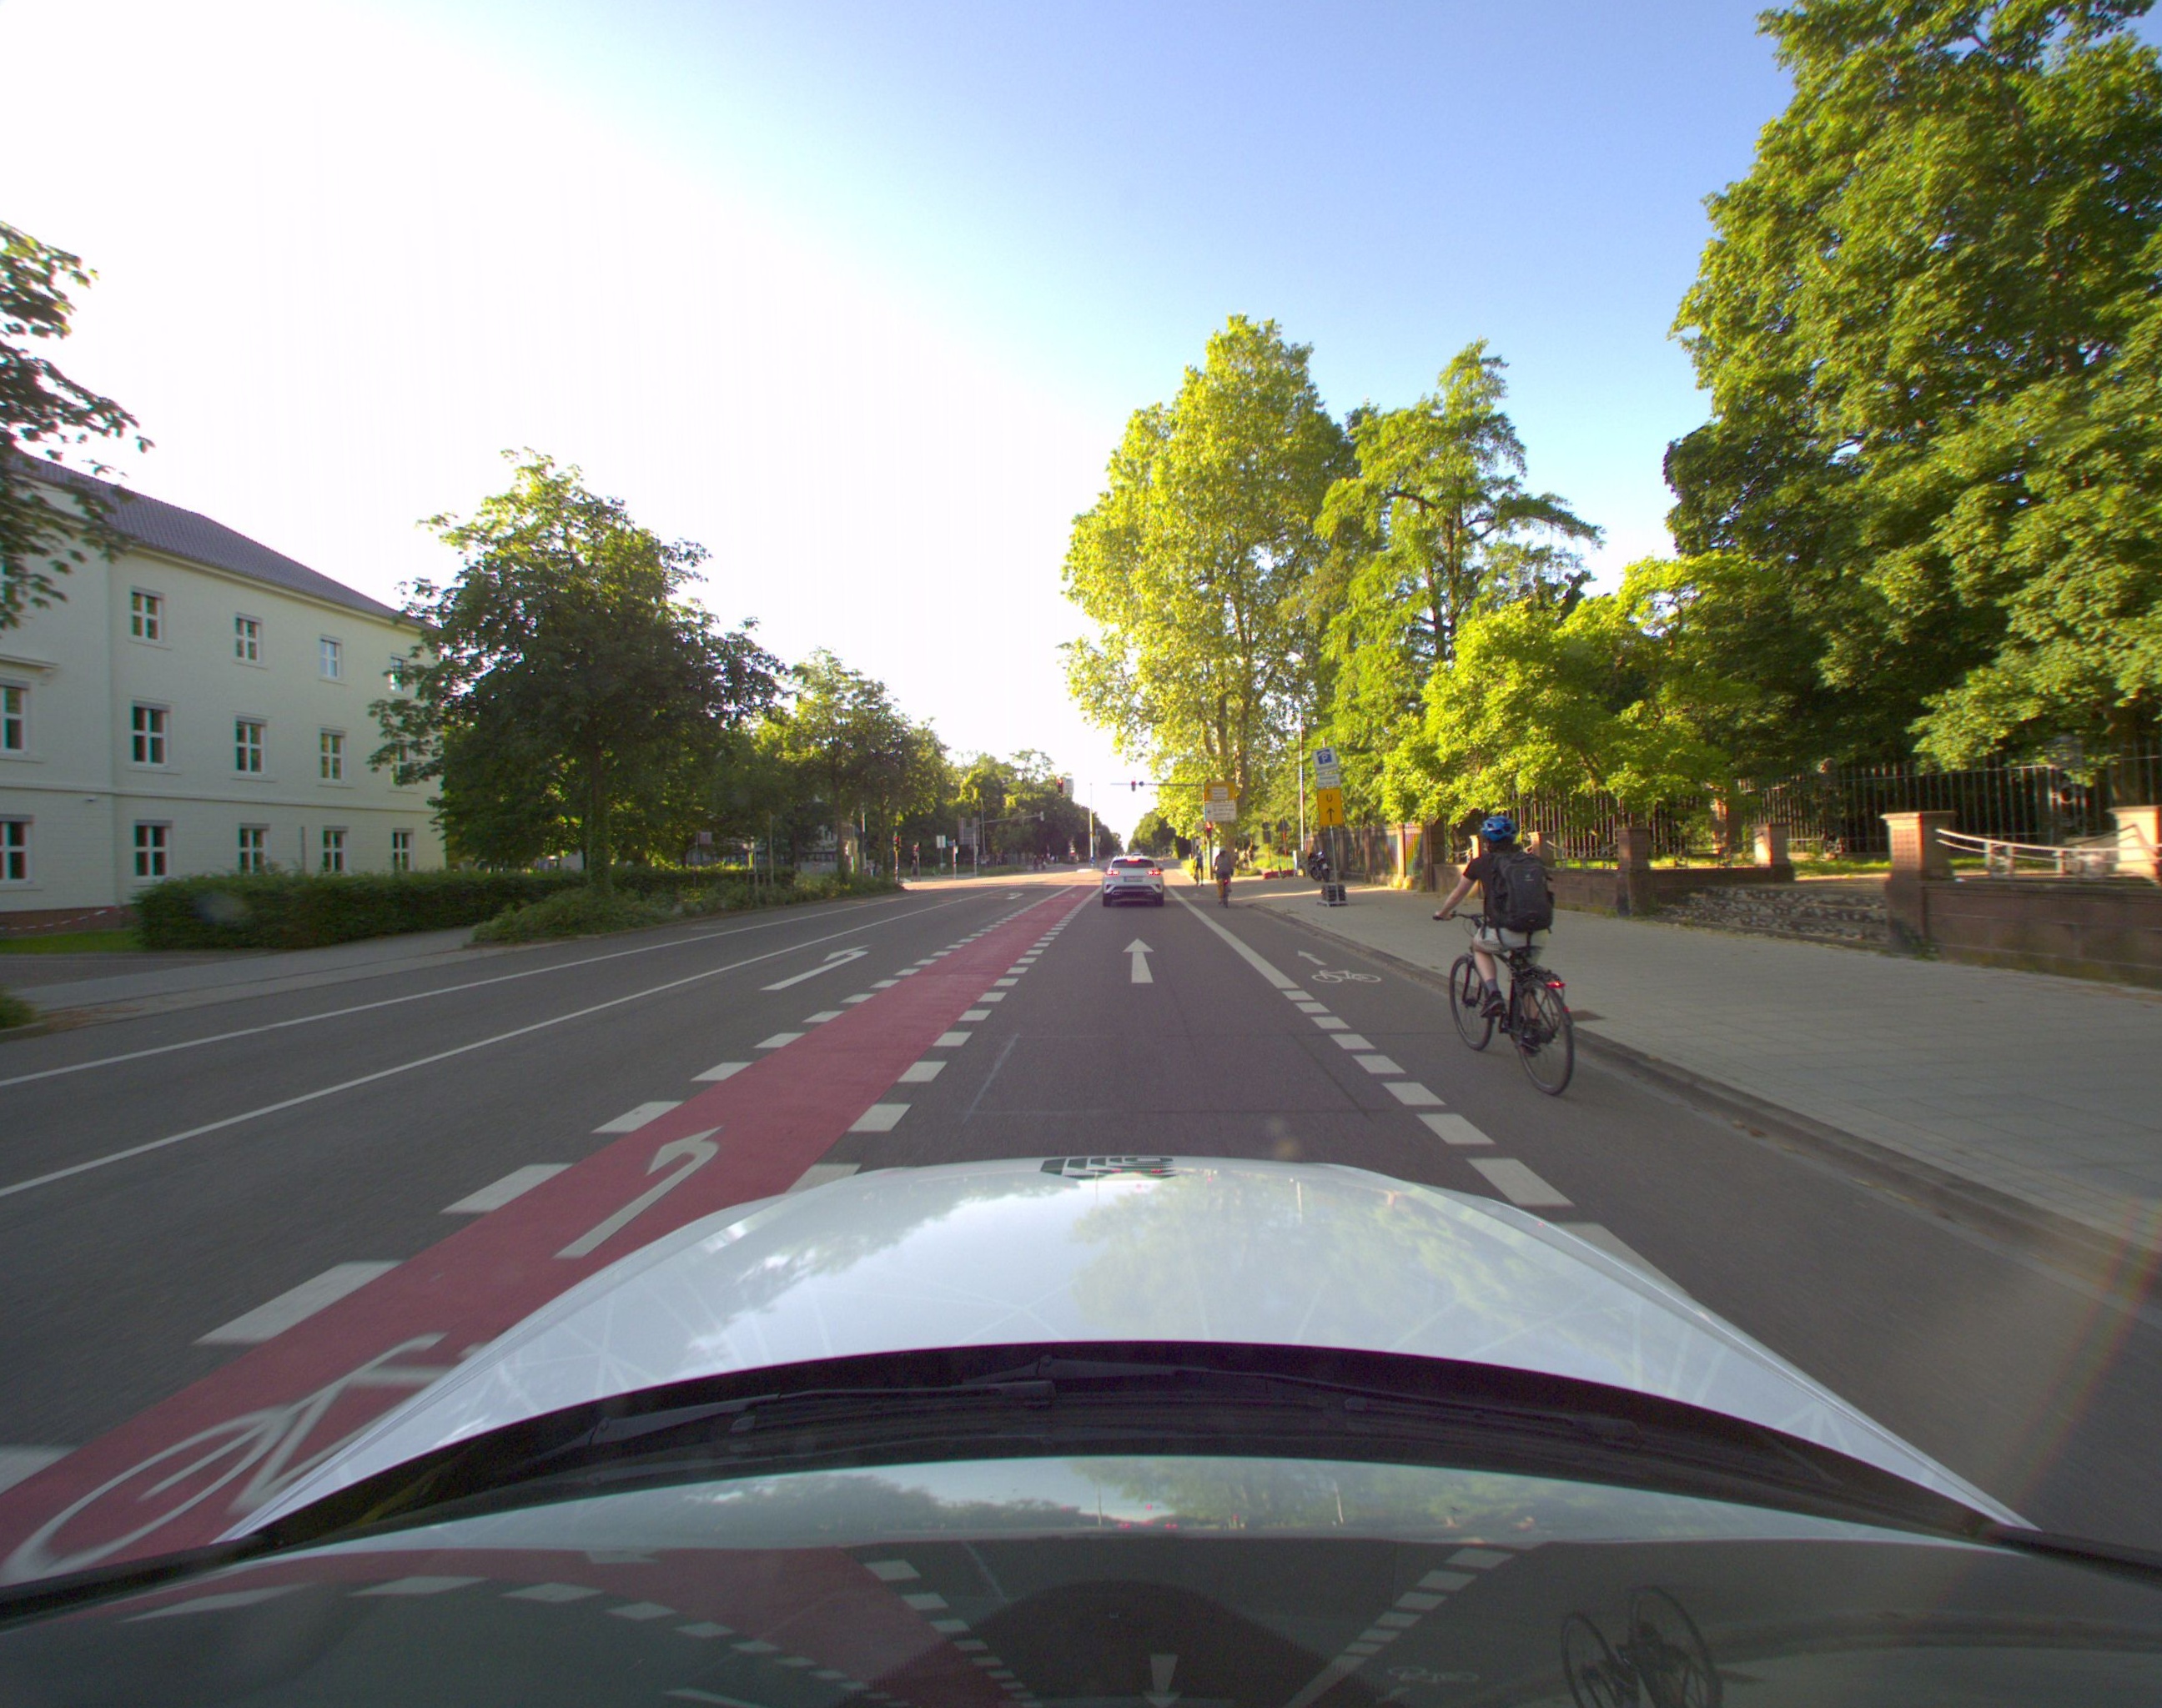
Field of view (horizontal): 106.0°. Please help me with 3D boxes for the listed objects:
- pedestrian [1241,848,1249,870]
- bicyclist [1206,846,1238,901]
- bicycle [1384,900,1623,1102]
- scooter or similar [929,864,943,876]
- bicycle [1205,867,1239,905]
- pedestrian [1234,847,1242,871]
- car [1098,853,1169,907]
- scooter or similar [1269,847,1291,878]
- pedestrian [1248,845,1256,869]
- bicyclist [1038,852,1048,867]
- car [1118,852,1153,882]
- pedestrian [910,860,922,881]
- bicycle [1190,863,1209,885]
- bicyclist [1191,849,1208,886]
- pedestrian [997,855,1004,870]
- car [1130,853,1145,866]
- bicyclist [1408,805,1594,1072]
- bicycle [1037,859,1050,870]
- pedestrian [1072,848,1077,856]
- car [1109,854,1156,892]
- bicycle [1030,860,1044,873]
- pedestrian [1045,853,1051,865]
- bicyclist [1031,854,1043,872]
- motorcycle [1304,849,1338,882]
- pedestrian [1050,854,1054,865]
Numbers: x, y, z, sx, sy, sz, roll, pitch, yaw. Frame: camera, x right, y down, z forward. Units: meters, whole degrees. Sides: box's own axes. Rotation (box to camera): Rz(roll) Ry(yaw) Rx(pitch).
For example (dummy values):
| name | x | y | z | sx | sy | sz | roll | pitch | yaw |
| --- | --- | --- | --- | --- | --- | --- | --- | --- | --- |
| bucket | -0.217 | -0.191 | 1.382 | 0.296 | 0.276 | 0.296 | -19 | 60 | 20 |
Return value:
| name | x | y | z | sx | sy | sz | roll | pitch | yaw |
| --- | --- | --- | --- | --- | --- | --- | --- | --- | --- |
| pedestrian | 12.820 | 0.403 | 63.667 | 0.479 | 1.640 | 0.433 | -5 | 3 | 9 |
| bicyclist | 4.060 | 0.562 | 23.494 | 0.744 | 1.537 | 0.970 | -2 | 0 | 3 |
| bicycle | 2.844 | 0.911 | 5.796 | 0.640 | 1.025 | 2.214 | -1 | 0 | 3 |
| scooter or similar | -14.430 | 1.581 | 81.027 | 0.506 | 1.144 | 1.710 | -3 | 0 | 24 |
| bicycle | 4.063 | 0.909 | 23.587 | 0.750 | 1.026 | 1.870 | -1 | -1 | 3 |
| pedestrian | 12.271 | 0.373 | 63.649 | 0.479 | 1.792 | 0.433 | -5 | 3 | 9 |
| car | 1.607 | 0.746 | 25.308 | 1.985 | 1.453 | 4.003 | -3 | 0 | 3 |
| scooter or similar | 9.426 | 0.396 | 38.605 | 0.564 | 1.382 | 1.857 | -3 | 0 | 2 |
| pedestrian | 13.510 | 0.254 | 64.308 | 0.479 | 1.792 | 0.433 | -5 | 3 | 9 |
| bicyclist | -4.289 | 0.613 | 92.390 | 0.951 | 1.705 | 1.234 | -3 | 0 | 4 |
| car | 3.174 | 0.750 | 47.888 | 1.844 | 1.591 | 4.003 | -3 | 0 | 3 |
| pedestrian | -14.595 | 1.434 | 71.954 | 0.684 | 1.792 | 0.769 | -5 | 0 | 2 |
| bicycle | 5.784 | 0.968 | 39.845 | 0.750 | 1.026 | 1.870 | -1 | -1 | 3 |
| bicyclist | 5.771 | 0.638 | 39.691 | 0.746 | 1.750 | 0.844 | -1 | 0 | 2 |
| pedestrian | -10.021 | 1.069 | 100.957 | 0.648 | 1.888 | 0.664 | -3 | 0 | 5 |
| car | 7.613 | 0.728 | 109.373 | 1.727 | 1.546 | 4.008 | -2 | 0 | 7 |
| bicyclist | 2.815 | 0.514 | 5.607 | 0.633 | 1.614 | 1.285 | -1 | 0 | 3 |
| bicycle | -4.259 | 1.214 | 92.317 | 0.959 | 1.181 | 2.955 | -3 | 0 | 5 |
| pedestrian | -1.748 | -0.531 | 212.594 | 0.869 | 2.149 | 1.107 | -3 | 0 | 12 |
| car | 2.304 | 0.810 | 36.882 | 1.921 | 1.533 | 4.003 | -3 | 0 | 3 |
| bicycle | -4.558 | 1.256 | 84.609 | 1.096 | 1.255 | 2.783 | -3 | 0 | 5 |
| pedestrian | -5.235 | 0.788 | 129.338 | 0.654 | 2.013 | 0.832 | -3 | 0 | 1 |
| bicyclist | -4.561 | 0.905 | 84.720 | 1.087 | 1.754 | 1.099 | -3 | 0 | 5 |
| motorcycle | 9.343 | 0.436 | 31.821 | 0.659 | 1.167 | 2.329 | -5 | 0 | 3 |
| pedestrian | -4.719 | 0.931 | 132.399 | 0.518 | 1.705 | 0.528 | -3 | 0 | -1 |
